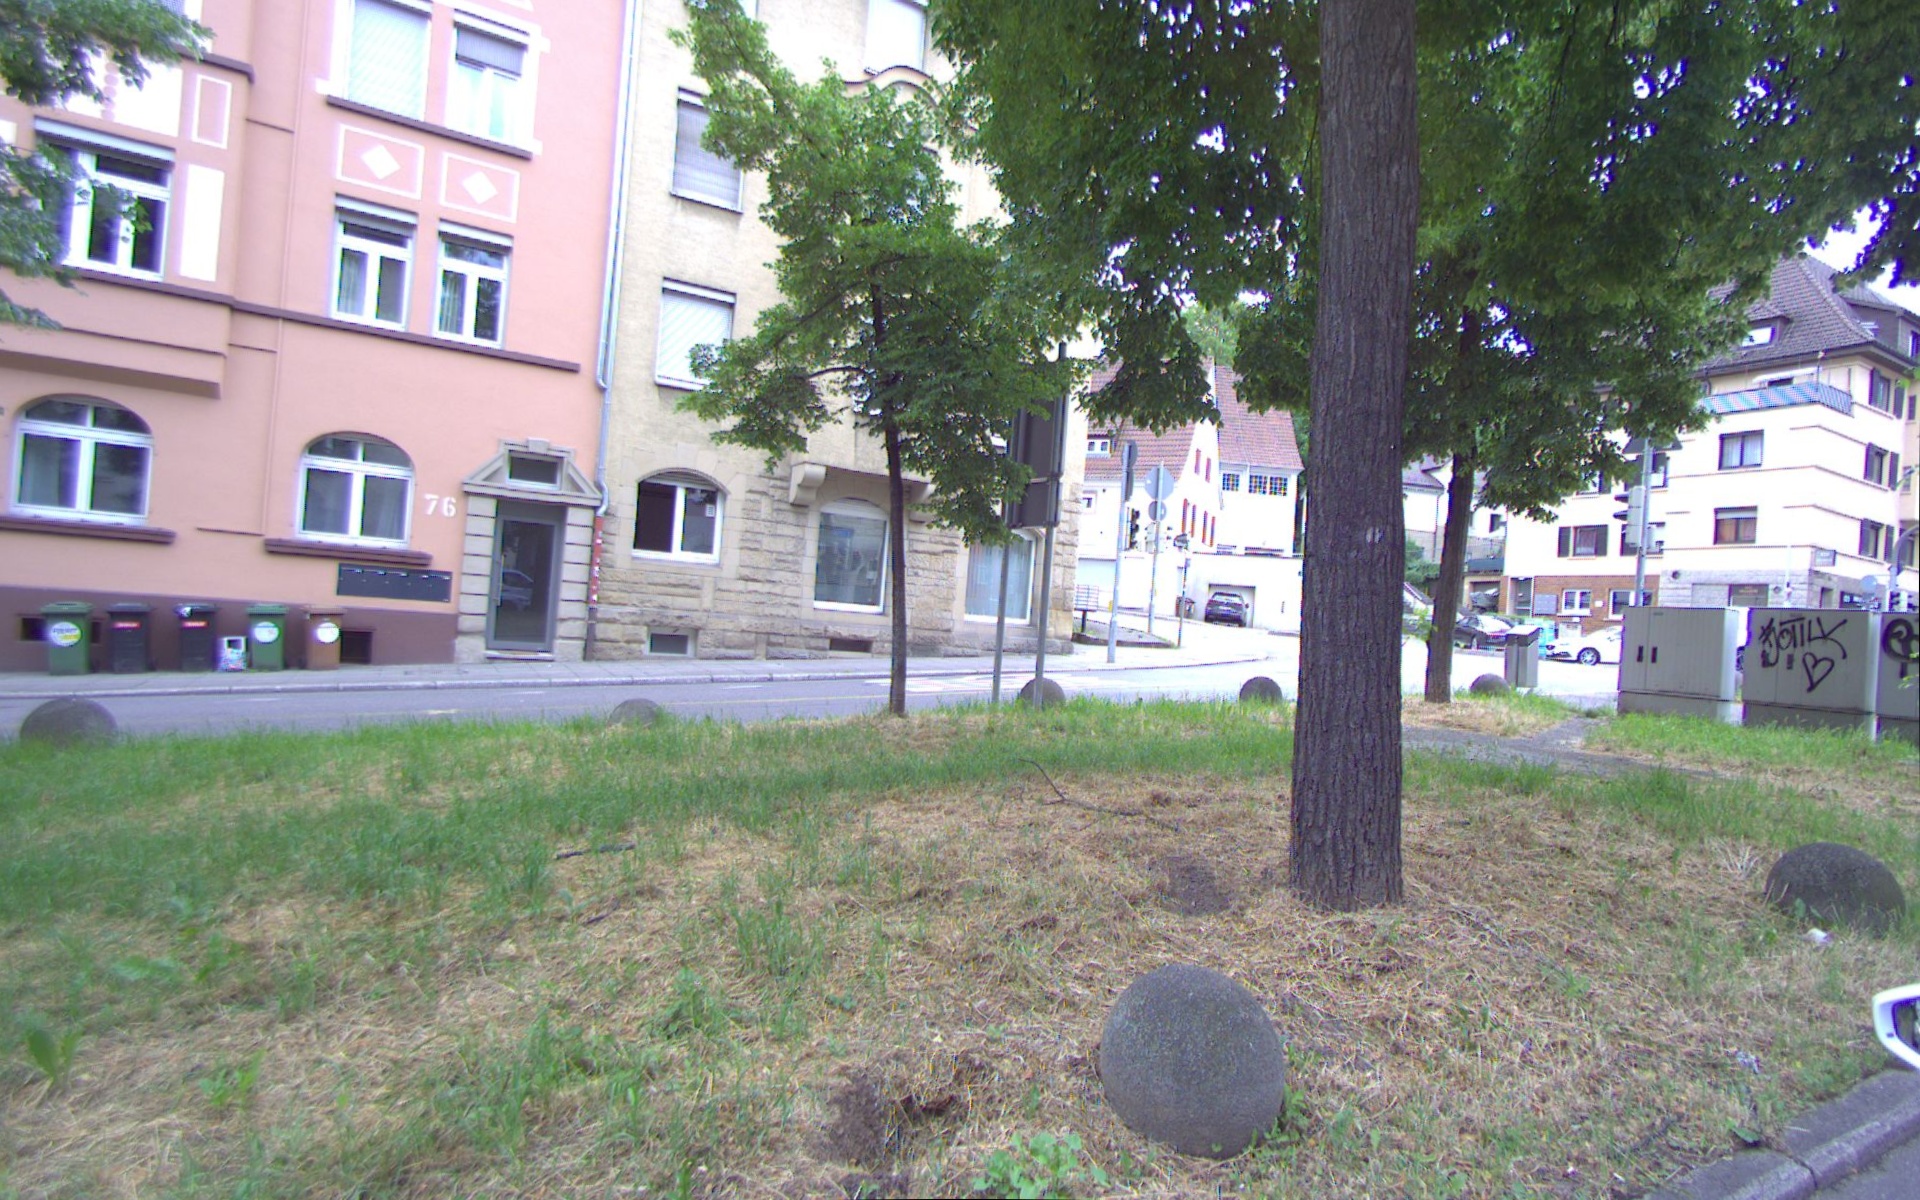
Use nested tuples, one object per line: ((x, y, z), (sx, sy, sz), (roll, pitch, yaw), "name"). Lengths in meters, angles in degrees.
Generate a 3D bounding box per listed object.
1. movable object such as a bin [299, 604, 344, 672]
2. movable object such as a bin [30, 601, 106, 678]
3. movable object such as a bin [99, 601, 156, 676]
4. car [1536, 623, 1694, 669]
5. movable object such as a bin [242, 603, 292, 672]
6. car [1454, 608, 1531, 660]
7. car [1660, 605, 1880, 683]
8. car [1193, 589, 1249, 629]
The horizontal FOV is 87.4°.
((-9.275, 0.541, 14.580), (0.510, 0.934, 0.752), (2, 0, -34), "movable object such as a bin")
((-11.641, 0.508, 13.126), (0.611, 0.961, 0.613), (2, 0, -31), "movable object such as a bin")
((-11.144, 0.510, 13.462), (0.527, 0.958, 0.576), (2, 0, -36), "movable object such as a bin")
((21.634, 1.498, 33.329), (4.051, 1.296, 1.648), (2, 0, 16), "car")
((-9.818, 0.523, 14.245), (0.554, 0.934, 0.649), (2, 0, -34), "movable object such as a bin")
((21.771, 1.336, 41.220), (1.832, 1.619, 3.519), (2, 6, 13), "car")
((18.589, 1.007, 23.060), (4.491, 1.631, 1.970), (2, 0, -22), "car")
((11.615, 0.357, 44.809), (1.639, 1.424, 3.057), (7, 3, 2), "car")
